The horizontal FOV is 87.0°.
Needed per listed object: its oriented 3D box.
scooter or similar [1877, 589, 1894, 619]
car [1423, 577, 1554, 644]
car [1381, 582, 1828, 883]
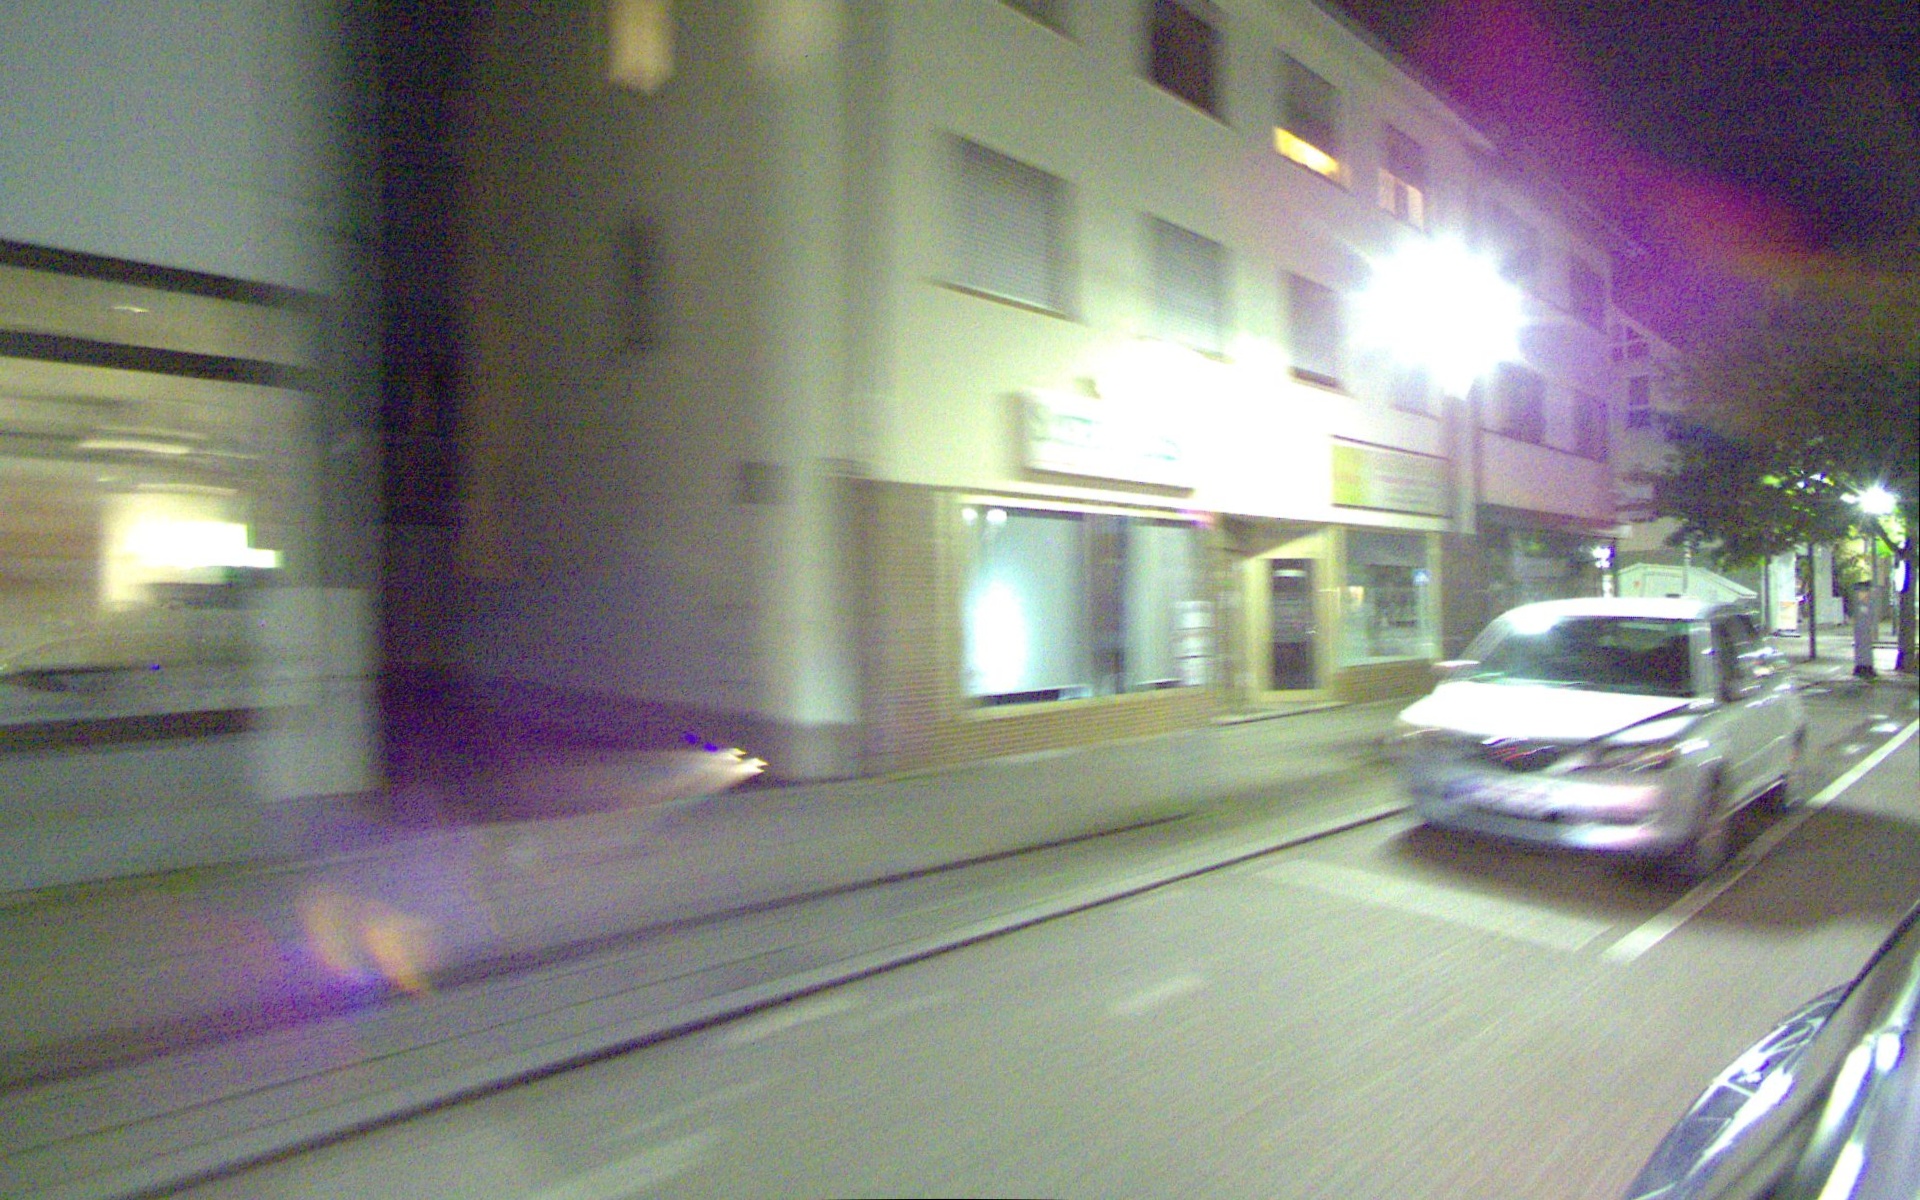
[{"bbox_3d":[41.550,0.170,45.439,1.283,1.292,0.373,-2,1,-40],"label":"scooter or similar"},{"bbox_3d":[14.091,0.223,26.904,3.989,1.477,1.808,-3,5,-43],"label":"car"},{"bbox_3d":[4.482,0.633,6.832,3.613,1.478,1.676,-1,0,-43],"label":"car"}]
